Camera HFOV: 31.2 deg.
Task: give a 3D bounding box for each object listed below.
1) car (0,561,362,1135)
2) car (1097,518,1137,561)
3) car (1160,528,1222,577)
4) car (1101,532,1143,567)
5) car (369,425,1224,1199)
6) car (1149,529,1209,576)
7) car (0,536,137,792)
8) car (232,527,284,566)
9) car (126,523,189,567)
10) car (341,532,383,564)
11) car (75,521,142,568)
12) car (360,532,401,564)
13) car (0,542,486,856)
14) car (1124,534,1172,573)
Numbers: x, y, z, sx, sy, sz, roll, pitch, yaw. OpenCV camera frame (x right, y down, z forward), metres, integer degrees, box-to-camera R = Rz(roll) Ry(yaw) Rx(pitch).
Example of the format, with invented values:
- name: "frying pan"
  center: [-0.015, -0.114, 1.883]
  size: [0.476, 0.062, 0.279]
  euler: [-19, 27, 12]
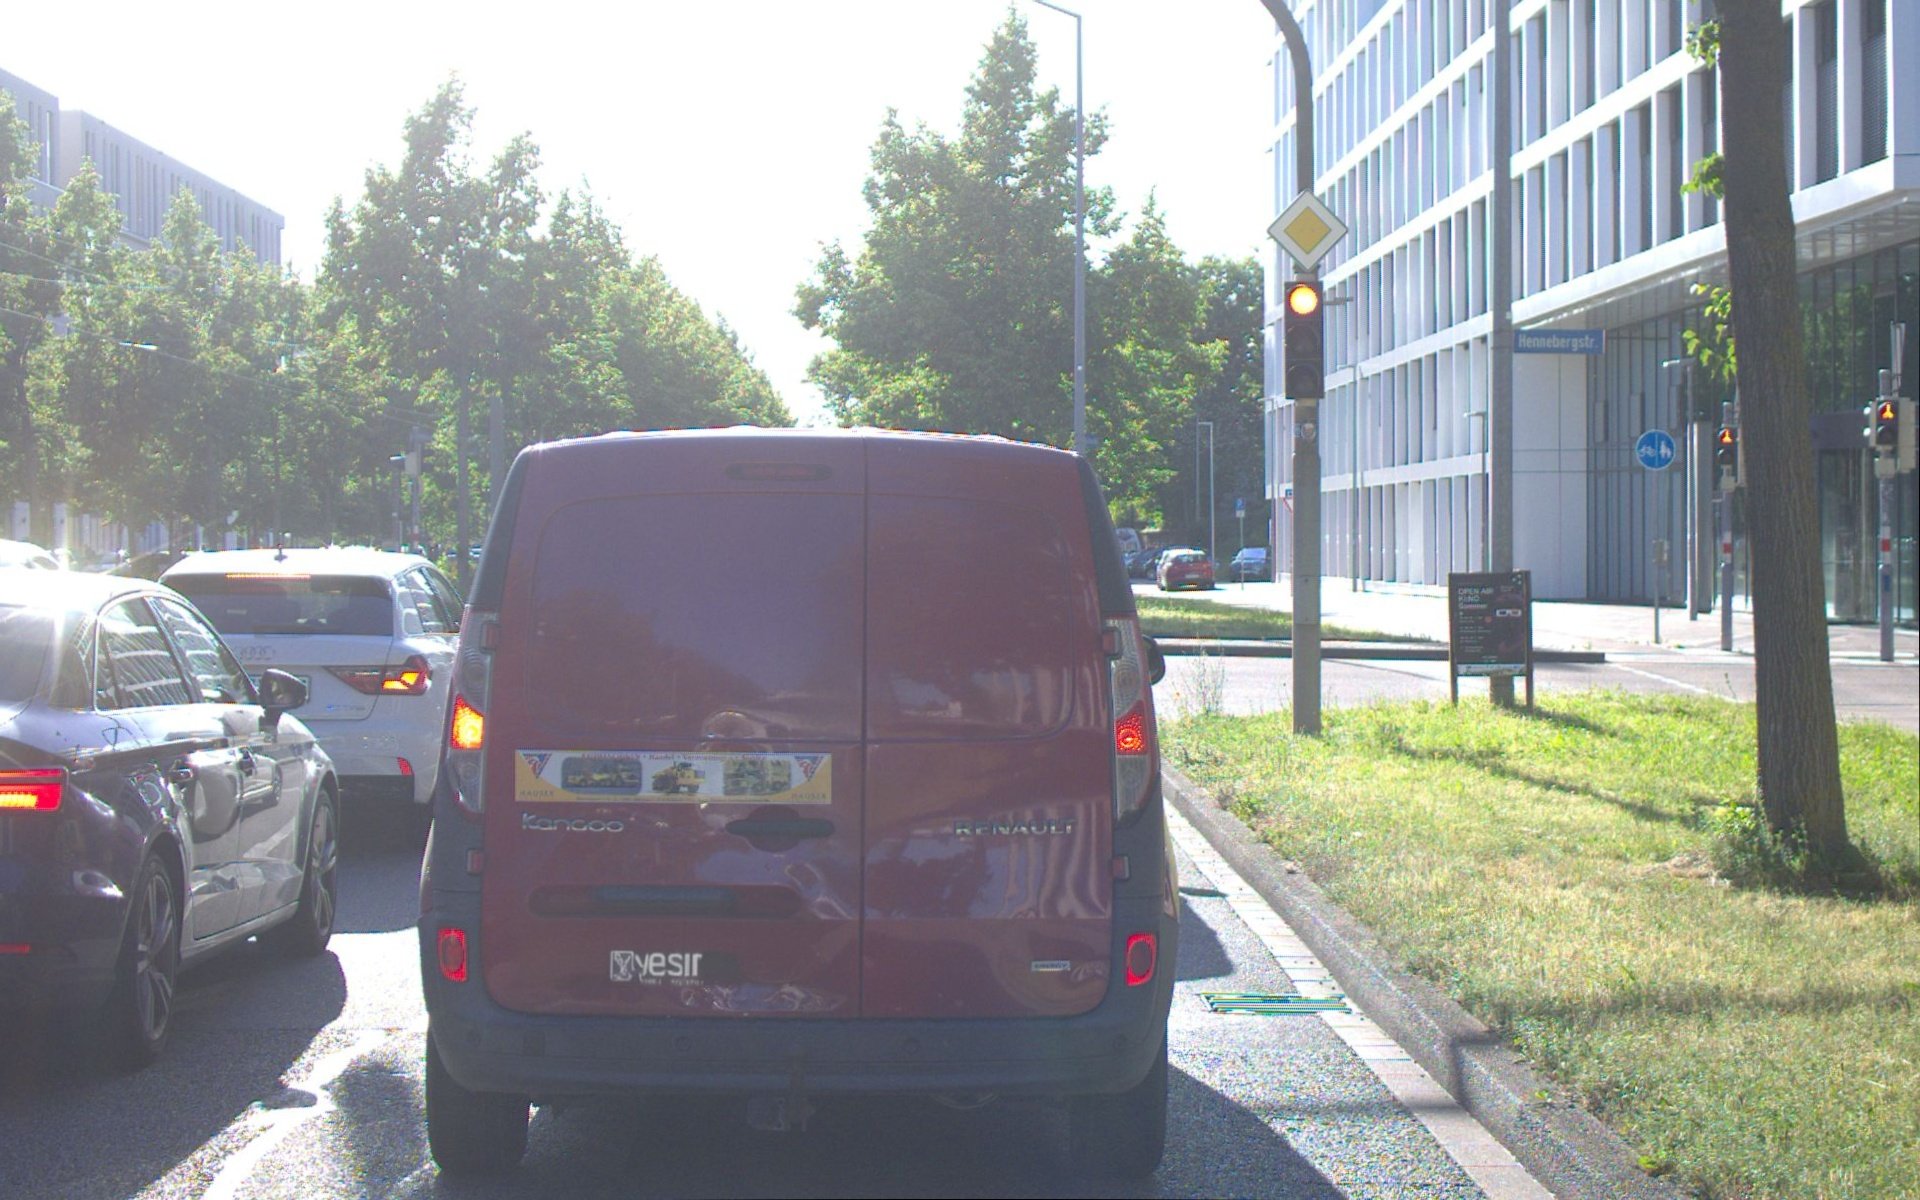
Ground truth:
- name: "car"
  center: [-3.169, 0.607, 10.905]
  size: [1.842, 1.421, 4.339]
  euler: [0, 1, -1]
- name: "car"
  center: [9.056, -3.504, 198.439]
  size: [1.993, 2.488, 4.987]
  euler: [0, 1, -1]
- name: "car"
  center: [8.567, -1.774, 127.960]
  size: [1.993, 1.776, 4.000]
  euler: [0, 1, -1]
- name: "car"
  center: [8.472, -2.648, 179.931]
  size: [1.993, 1.776, 4.000]
  euler: [0, 1, -1]
- name: "car"
  center: [-0.379, 0.470, 9.431]
  size: [1.842, 1.774, 4.000]
  euler: [0, 1, -1]
- name: "car"
  center: [8.458, -1.844, 133.033]
  size: [1.993, 1.776, 4.000]
  euler: [0, 1, -1]
- name: "car"
  center: [-6.741, 0.329, 22.481]
  size: [1.799, 1.478, 4.569]
  euler: [3, 1, -3]
- name: "car"
  center: [-37.242, -2.846, 182.523]
  size: [1.993, 2.007, 4.000]
  euler: [0, 1, -1]
- name: "car"
  center: [-36.980, -2.527, 158.537]
  size: [1.993, 2.007, 4.000]
  euler: [0, 1, -1]
- name: "car"
  center: [-37.775, -3.316, 217.355]
  size: [1.993, 2.007, 4.000]
  euler: [0, 1, -1]
- name: "car"
  center: [-36.992, -2.410, 149.437]
  size: [1.993, 2.007, 4.000]
  euler: [0, 1, -1]
- name: "car"
  center: [-37.564, -3.380, 222.979]
  size: [1.993, 2.007, 4.000]
  euler: [0, 1, -1]
- name: "car"
  center: [-3.587, 0.423, 17.696]
  size: [1.803, 1.421, 3.901]
  euler: [0, 1, -1]
- name: "car"
  center: [8.771, -2.191, 160.734]
  size: [1.993, 1.776, 4.000]
  euler: [0, 1, -1]
